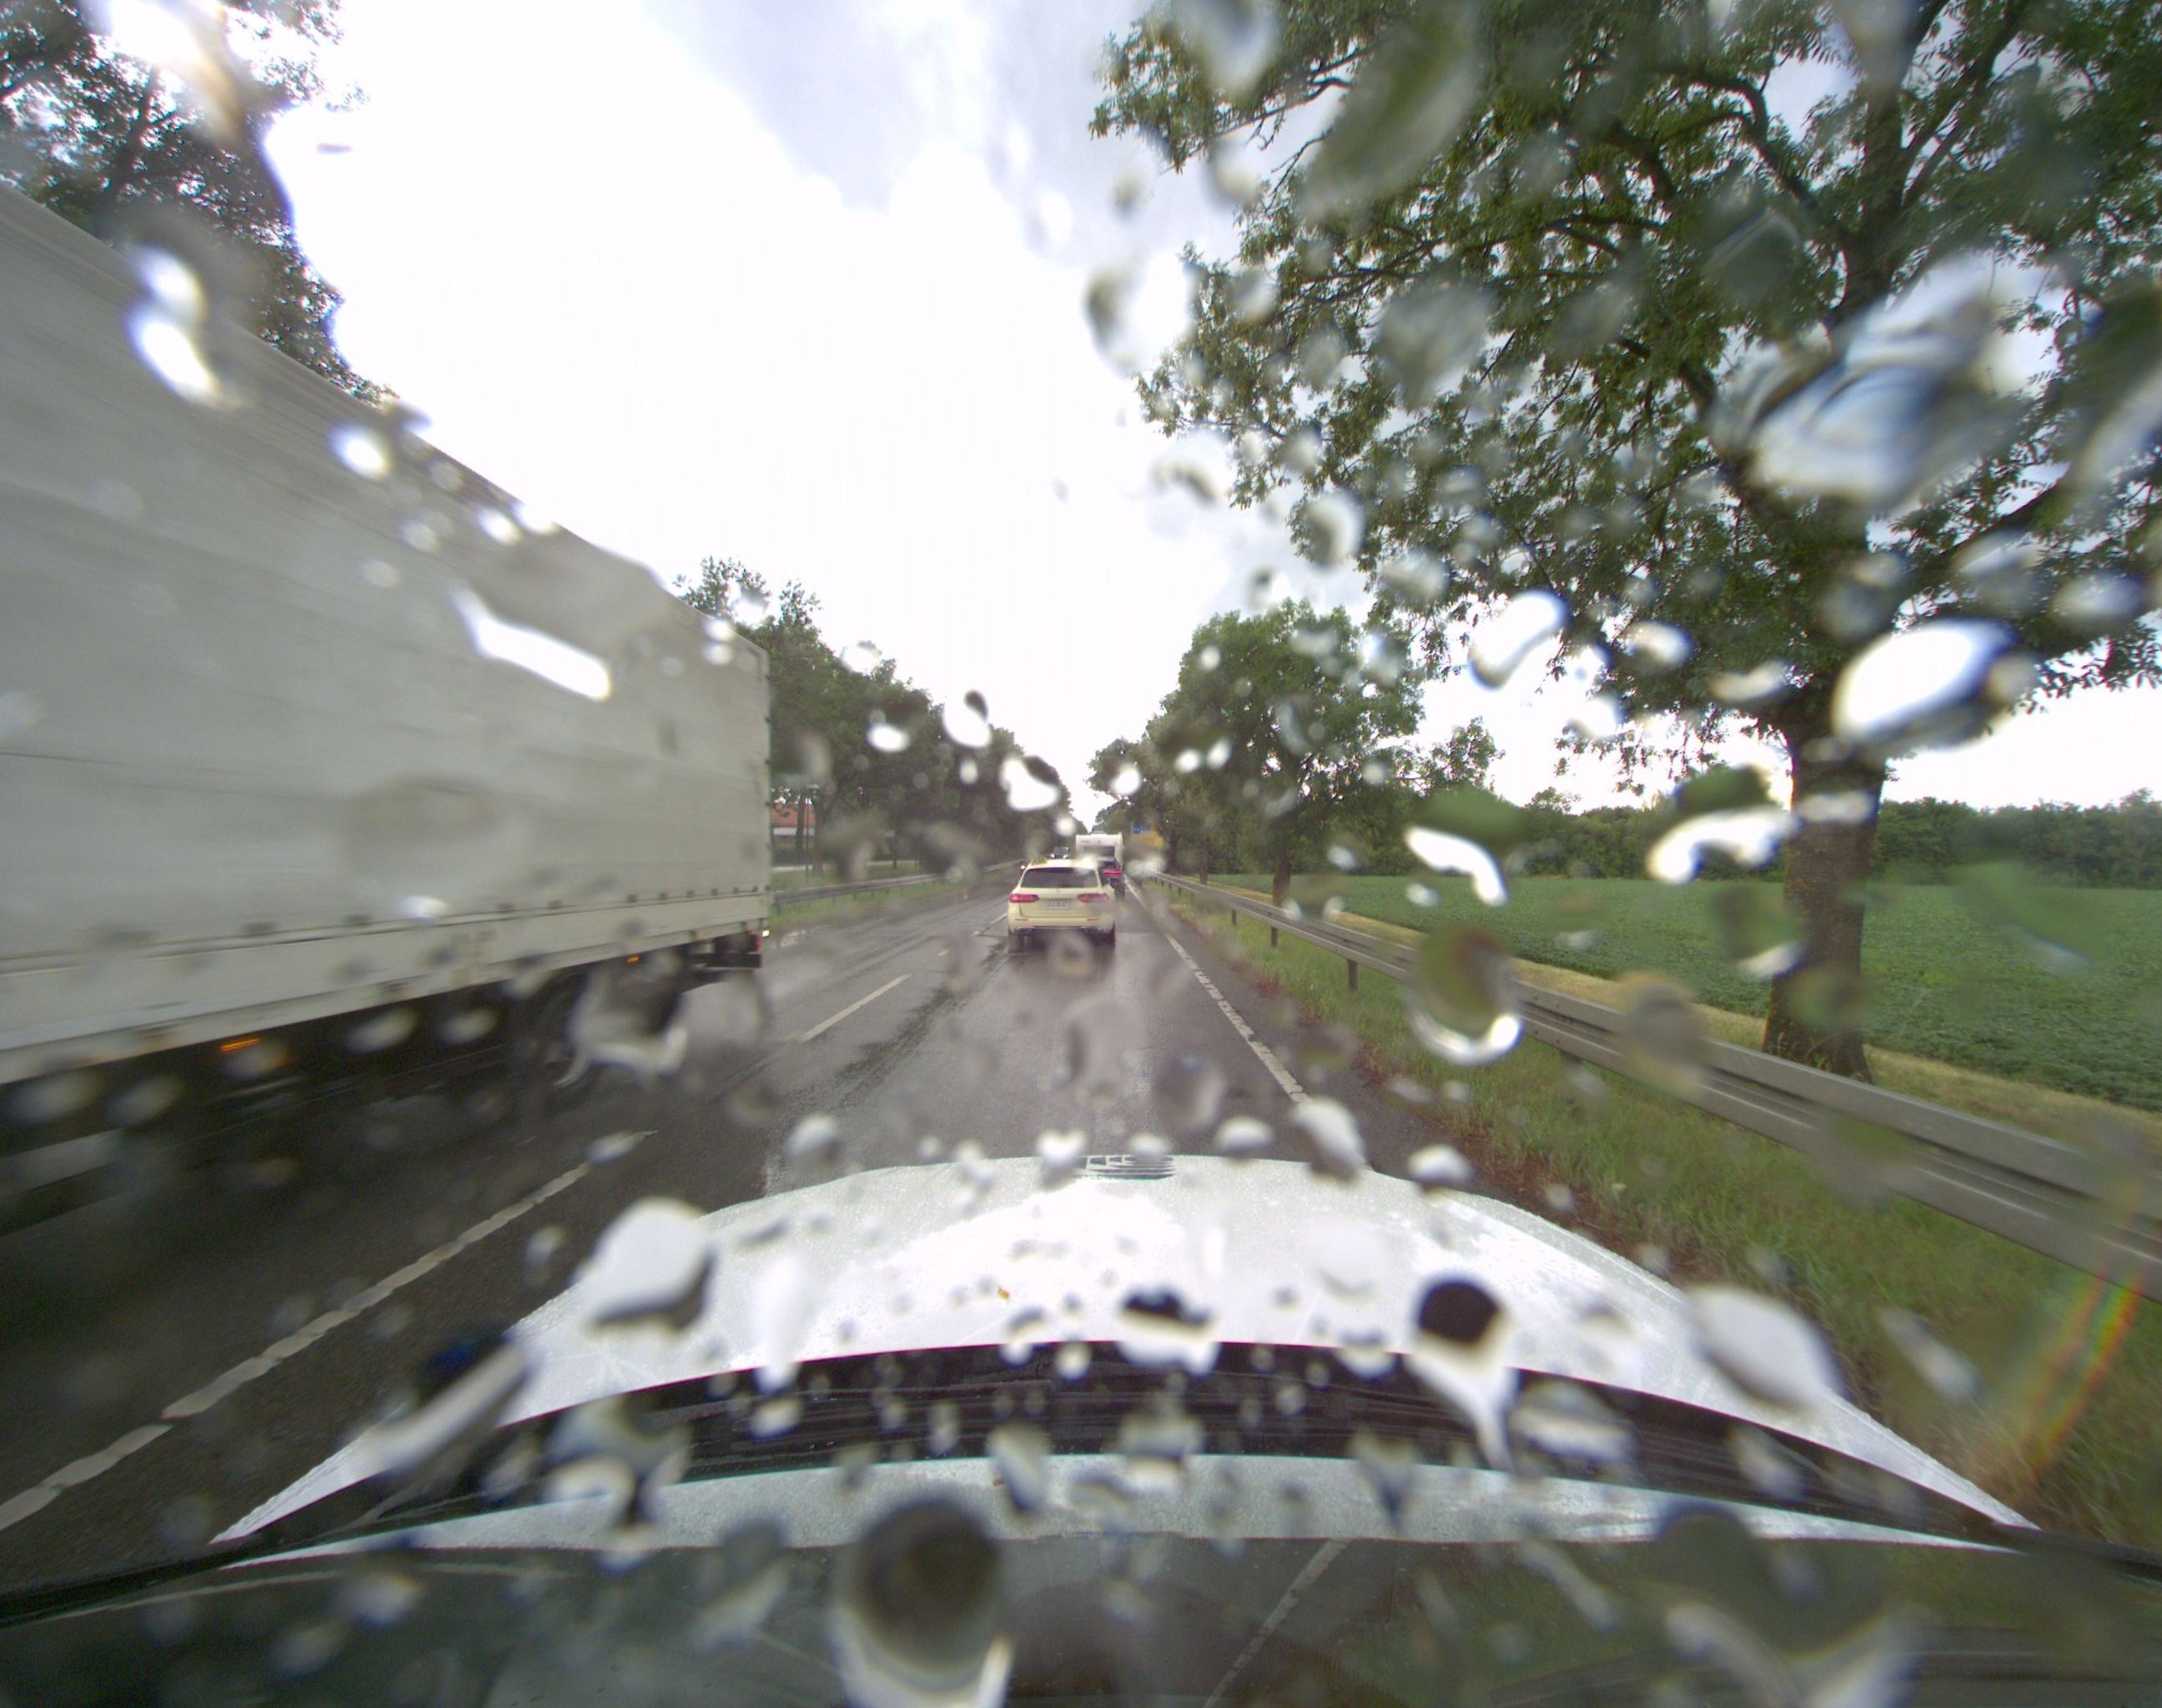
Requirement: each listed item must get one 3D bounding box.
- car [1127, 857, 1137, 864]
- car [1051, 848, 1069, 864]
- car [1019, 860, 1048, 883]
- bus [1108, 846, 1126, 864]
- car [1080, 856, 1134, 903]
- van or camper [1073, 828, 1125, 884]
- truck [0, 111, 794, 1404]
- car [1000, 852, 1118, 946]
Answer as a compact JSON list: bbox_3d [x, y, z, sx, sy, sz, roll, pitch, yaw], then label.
[{"bbox_3d":[8.209,1.003,131.901,1.545,1.118,4.002,0,-1,3],"label":"car"},{"bbox_3d":[-2.440,0.226,94.709,1.821,1.803,4.416,-1,0,1],"label":"car"},{"bbox_3d":[-3.265,1.203,57.041,1.708,1.451,4.112,0,0,1],"label":"car"},{"bbox_3d":[4.334,0.131,98.631,1.986,2.013,4.001,-1,0,1],"label":"bus"},{"bbox_3d":[0.898,0.784,27.119,1.657,1.430,4.003,-1,0,3],"label":"car"},{"bbox_3d":[1.007,0.098,41.968,2.479,2.685,5.704,0,0,3],"label":"van or camper"},{"bbox_3d":[-4.153,-0.254,3.119,2.567,3.452,9.556,-1,0,1],"label":"truck"},{"bbox_3d":[-0.260,0.721,14.959,1.857,1.476,4.003,-1,0,3],"label":"car"}]
